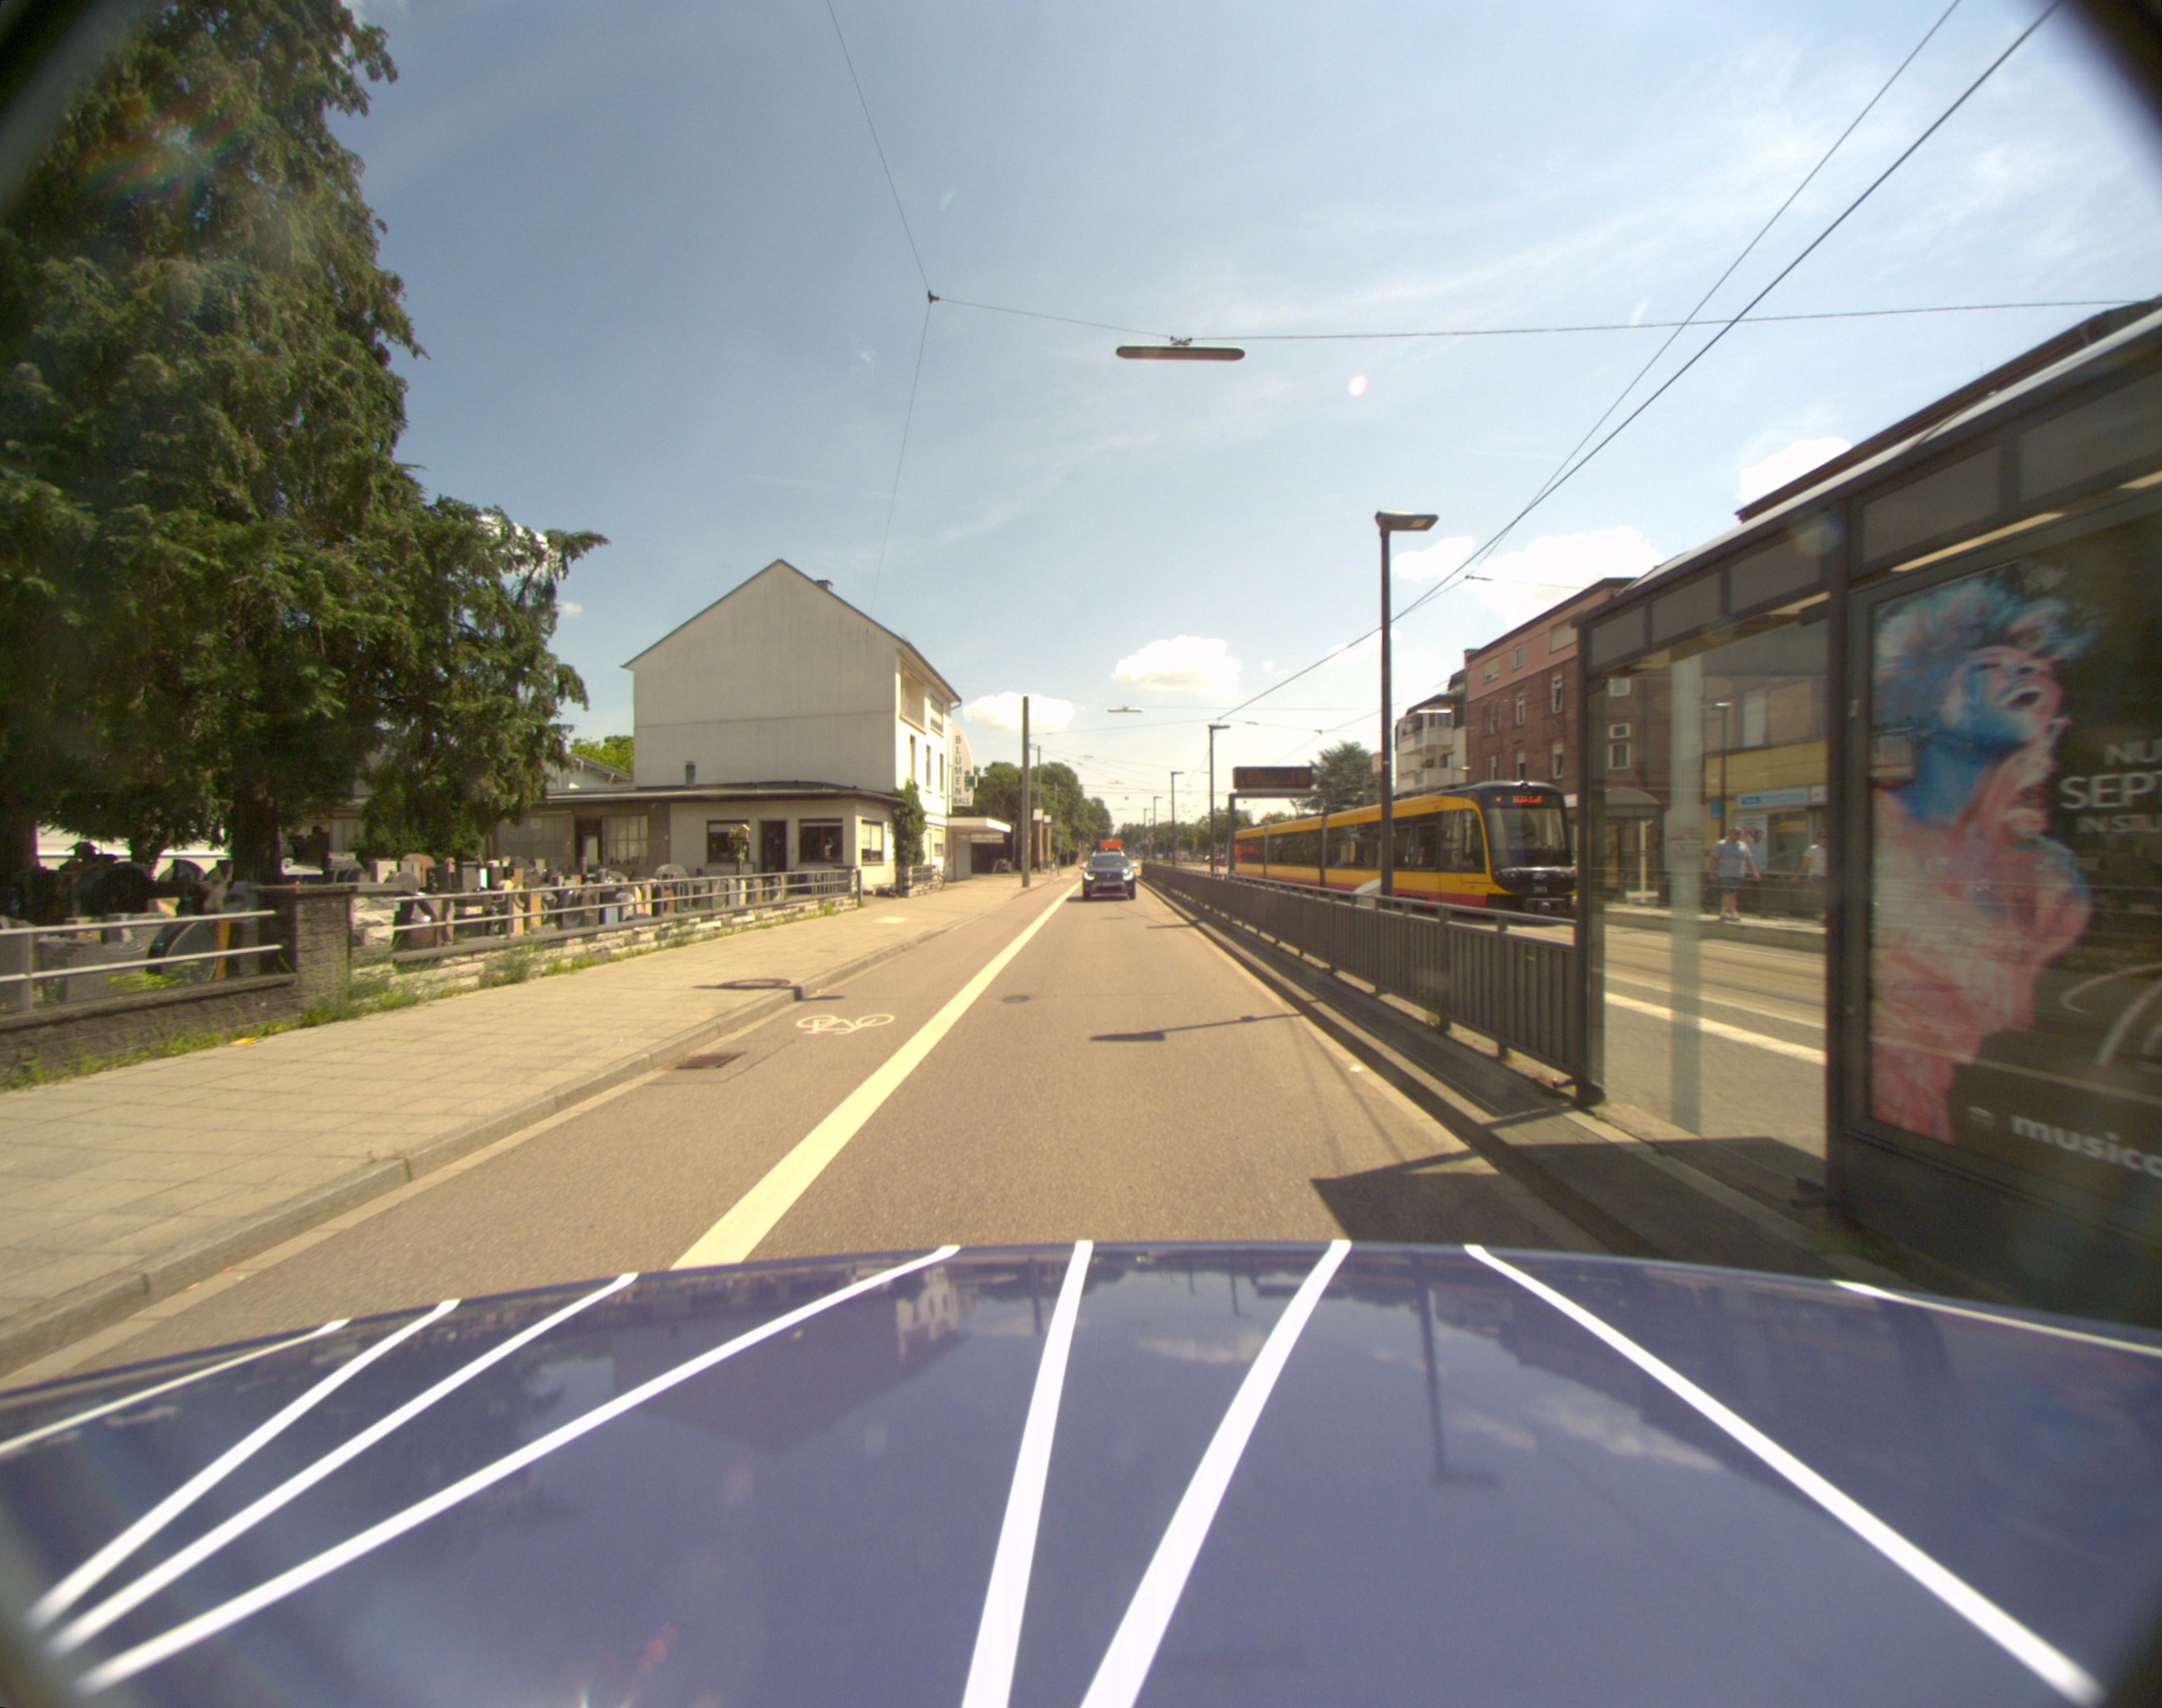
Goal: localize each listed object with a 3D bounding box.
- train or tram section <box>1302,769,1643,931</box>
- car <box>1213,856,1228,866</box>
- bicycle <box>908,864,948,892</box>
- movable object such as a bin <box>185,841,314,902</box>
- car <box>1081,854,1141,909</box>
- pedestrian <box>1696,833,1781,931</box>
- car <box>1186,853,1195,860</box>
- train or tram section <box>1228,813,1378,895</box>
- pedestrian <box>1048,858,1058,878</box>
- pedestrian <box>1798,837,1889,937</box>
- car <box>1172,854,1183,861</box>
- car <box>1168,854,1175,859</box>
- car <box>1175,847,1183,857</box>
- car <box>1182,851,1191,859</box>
[{"bbox_3d":[10.967,-0.128,24.875,3.242,3.546,16.350,0,0,2],"label":"train or tram section"},{"bbox_3d":[20.857,1.053,113.993,1.658,1.436,3.853,1,1,2],"label":"car"},{"bbox_3d":[-6.365,0.998,31.569,1.535,1.080,0.430,2,1,8],"label":"bicycle"},{"bbox_3d":[-32.303,0.637,29.615,1.996,2.254,2.763,0,0,15],"label":"movable object such as a bin"},{"bbox_3d":[1.066,0.841,25.791,1.845,1.565,4.487,-1,1,4],"label":"car"},{"bbox_3d":[12.441,0.513,14.413,0.762,1.788,0.952,0,1,1],"label":"pedestrian"},{"bbox_3d":[26.755,0.555,185.580,1.744,1.586,4.000,0,0,1],"label":"car"},{"bbox_3d":[11.642,-0.063,43.332,3.258,3.546,20.502,0,0,2],"label":"train or tram section"},{"bbox_3d":[-2.294,1.134,63.133,0.563,1.656,0.683,1,1,25],"label":"pedestrian"},{"bbox_3d":[13.343,0.562,13.319,0.762,1.685,0.809,0,1,1],"label":"pedestrian"},{"bbox_3d":[21.349,0.681,167.734,1.998,1.441,4.822,-1,0,3],"label":"car"},{"bbox_3d":[27.882,0.761,234.221,1.744,1.683,4.000,0,0,1],"label":"car"},{"bbox_3d":[27.513,-0.513,212.661,1.744,2.573,4.000,0,0,1],"label":"car"},{"bbox_3d":[27.375,0.288,197.113,1.966,1.953,4.000,0,0,1],"label":"car"}]
